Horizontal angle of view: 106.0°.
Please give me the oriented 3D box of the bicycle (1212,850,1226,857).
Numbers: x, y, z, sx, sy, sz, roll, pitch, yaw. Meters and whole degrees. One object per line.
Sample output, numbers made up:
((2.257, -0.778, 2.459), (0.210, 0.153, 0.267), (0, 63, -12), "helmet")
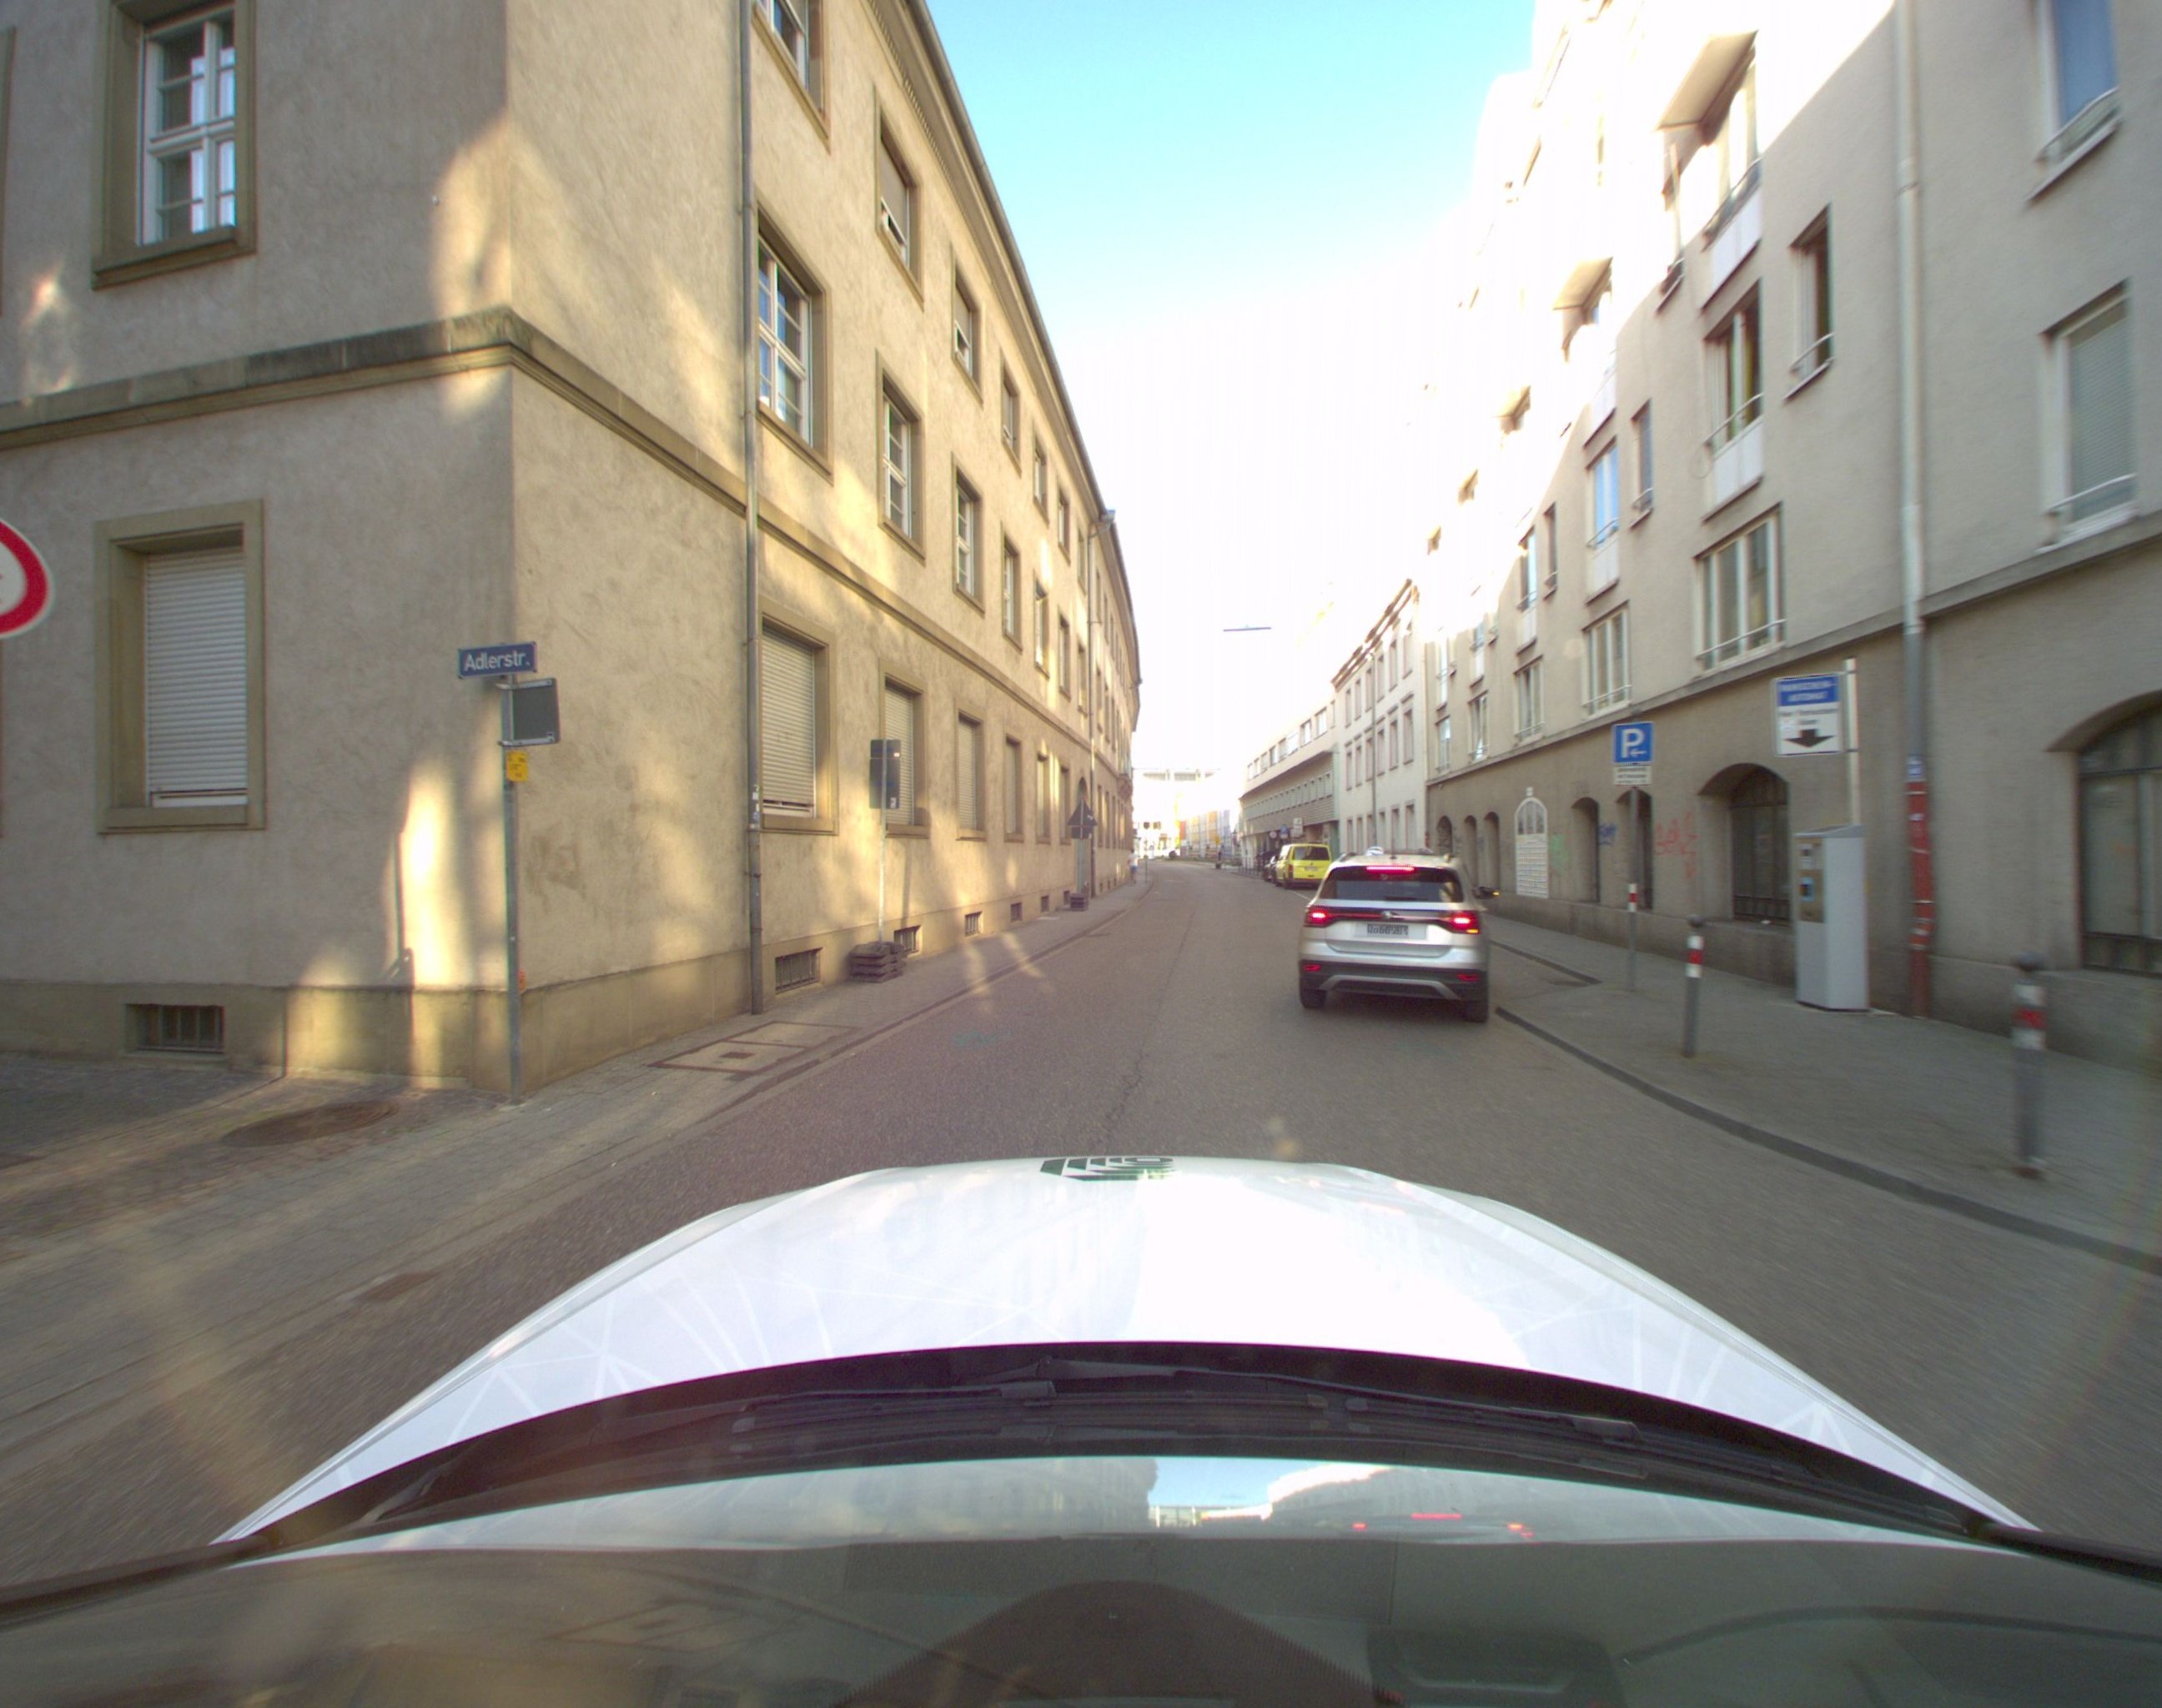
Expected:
((18.777, -0.069, 110.753), (1.741, 0.946, 0.326), (-2, -1, 2), "bicycle")

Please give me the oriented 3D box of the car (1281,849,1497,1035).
((3.556, 0.730, 9.088), (1.808, 1.559, 4.009), (0, 1, 25), "car")

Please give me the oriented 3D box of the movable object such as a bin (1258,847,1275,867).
((13.837, 0.227, 60.846), (0.976, 1.385, 1.322), (-2, -2, 4), "movable object such as a bin")

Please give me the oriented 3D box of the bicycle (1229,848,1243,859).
((18.354, -0.076, 96.583), (1.600, 1.141, 0.237), (-4, 0, -7), "bicycle")

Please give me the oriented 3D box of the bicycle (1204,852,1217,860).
((17.317, 0.268, 108.855), (1.742, 0.946, 0.552), (0, 0, 1), "bicycle")

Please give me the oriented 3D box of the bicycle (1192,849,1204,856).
((18.086, -0.221, 125.611), (1.804, 1.137, 0.552), (-1, 0, 0), "bicycle")

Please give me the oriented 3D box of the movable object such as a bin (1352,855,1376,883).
((11.437, 0.588, 32.933), (0.624, 1.051, 0.709), (-6, 0, 2), "movable object such as a bin")

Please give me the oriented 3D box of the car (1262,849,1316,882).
((10.185, 0.519, 40.127), (1.874, 1.489, 4.374), (0, 1, 5), "car")

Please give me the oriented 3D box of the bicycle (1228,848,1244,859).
((18.064, -0.051, 94.900), (1.742, 1.141, 0.552), (-4, 0, 1), "bicycle")

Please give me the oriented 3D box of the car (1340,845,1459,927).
((7.171, 0.618, 18.791), (1.813, 1.654, 4.508), (0, 1, 11), "car")

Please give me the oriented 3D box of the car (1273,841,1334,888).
((9.522, 0.408, 35.220), (1.873, 1.882, 4.855), (0, 1, 7), "car")

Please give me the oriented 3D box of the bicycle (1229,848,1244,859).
((18.357, -0.075, 96.306), (1.639, 1.141, 0.283), (-4, 0, -7), "bicycle")

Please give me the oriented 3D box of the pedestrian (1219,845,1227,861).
((15.916, -0.102, 91.387), (0.694, 1.760, 1.189), (-3, 0, 2), "pedestrian")

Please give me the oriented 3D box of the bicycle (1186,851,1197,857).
((18.993, -0.057, 139.864), (1.749, 1.004, 0.612), (-2, -1, -3), "bicycle")

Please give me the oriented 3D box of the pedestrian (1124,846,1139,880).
((2.518, 0.463, 40.626), (0.689, 1.670, 0.876), (1, 0, 6), "pedestrian")

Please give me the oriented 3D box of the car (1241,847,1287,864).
((17.584, 0.147, 78.483), (4.063, 1.482, 1.866), (-1, 0, 2), "car")

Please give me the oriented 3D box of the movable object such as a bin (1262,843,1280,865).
((13.814, -0.010, 59.213), (0.976, 1.480, 1.553), (-2, -2, 4), "movable object such as a bin")
